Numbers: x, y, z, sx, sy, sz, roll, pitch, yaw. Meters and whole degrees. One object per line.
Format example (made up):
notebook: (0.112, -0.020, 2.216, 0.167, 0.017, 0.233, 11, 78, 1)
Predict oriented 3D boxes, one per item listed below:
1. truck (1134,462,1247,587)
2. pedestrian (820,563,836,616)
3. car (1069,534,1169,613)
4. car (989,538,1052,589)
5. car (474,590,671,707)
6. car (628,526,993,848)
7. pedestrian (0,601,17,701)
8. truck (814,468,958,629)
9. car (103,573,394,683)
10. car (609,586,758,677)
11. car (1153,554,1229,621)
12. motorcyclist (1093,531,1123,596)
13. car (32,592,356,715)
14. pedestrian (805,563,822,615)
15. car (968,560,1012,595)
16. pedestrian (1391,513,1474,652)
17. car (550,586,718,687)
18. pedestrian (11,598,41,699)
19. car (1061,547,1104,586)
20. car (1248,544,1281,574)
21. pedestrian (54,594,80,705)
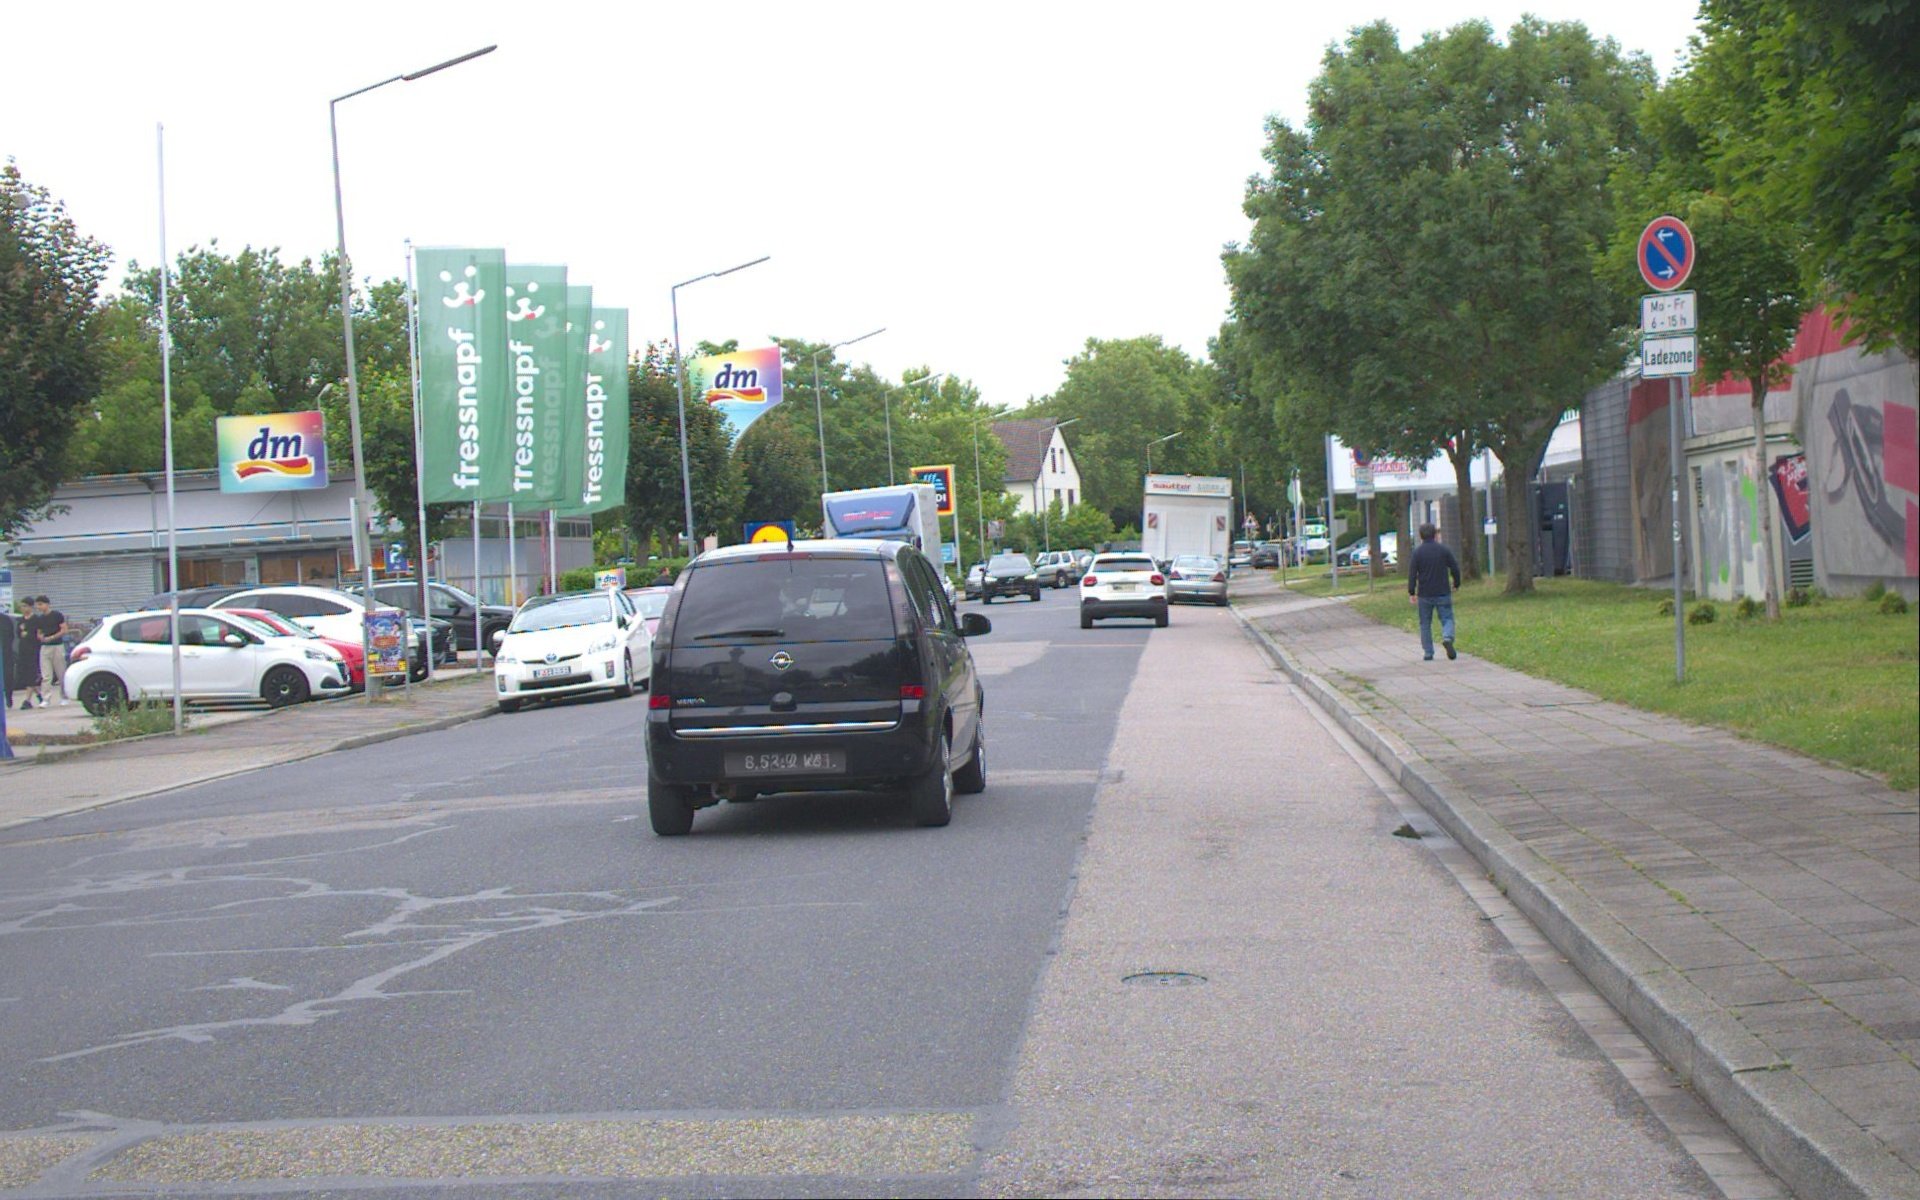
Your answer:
truck: (7.008, -2.226, 105.813, 3.135, 3.572, 10.049, -2, 0, 3)
pedestrian: (-3.851, -0.316, 100.275, 0.401, 1.526, 0.485, -3, 1, -2)
car: (3.291, -0.562, 70.412, 1.887, 1.526, 4.253, -1, 1, 5)
car: (2.071, -1.230, 116.911, 1.994, 1.678, 4.000, -2, 0, 3)
car: (-5.207, 0.630, 46.722, 1.898, 1.362, 4.000, -3, 1, 4)
car: (-0.782, 0.441, 20.208, 1.681, 1.626, 3.758, -3, 1, 3)
pedestrian: (-15.151, 0.808, 54.283, 0.359, 1.565, 0.504, -3, 0, -7)
truck: (-1.918, -1.377, 92.009, 2.974, 3.942, 6.404, -4, 1, 4)
car: (-11.168, 0.432, 54.186, 4.135, 1.458, 1.899, -3, 1, -1)
car: (-4.673, 0.515, 58.618, 1.898, 1.362, 4.000, -3, 1, 4)
car: (6.485, -0.355, 96.712, 1.994, 1.800, 4.000, -2, 0, 3)
motorcyclist: (3.569, -0.881, 82.876, 0.625, 1.548, 0.604, -3, 0, 6)
car: (-10.915, 0.747, 49.241, 4.202, 1.458, 1.953, -3, 1, -3)
pedestrian: (-4.347, -0.339, 102.079, 0.401, 1.526, 0.485, -3, 1, -2)
car: (1.228, -0.906, 140.716, 1.623, 1.370, 3.452, -2, 0, 3)
pedestrian: (5.680, -0.208, 41.357, 0.919, 1.629, 0.852, -2, 0, 6)
car: (-4.989, 0.542, 53.163, 1.898, 1.362, 4.000, -3, 1, 4)
pedestrian: (-14.760, 0.763, 54.337, 0.330, 1.565, 0.504, -2, 1, -8)
car: (5.623, -1.554, 157.627, 1.870, 1.656, 4.000, -3, 1, 2)
car: (17.707, -2.375, 200.081, 1.887, 1.677, 4.253, -1, 1, 5)
pedestrian: (-14.062, 0.777, 54.149, 0.262, 1.724, 0.422, -3, 0, -8)
